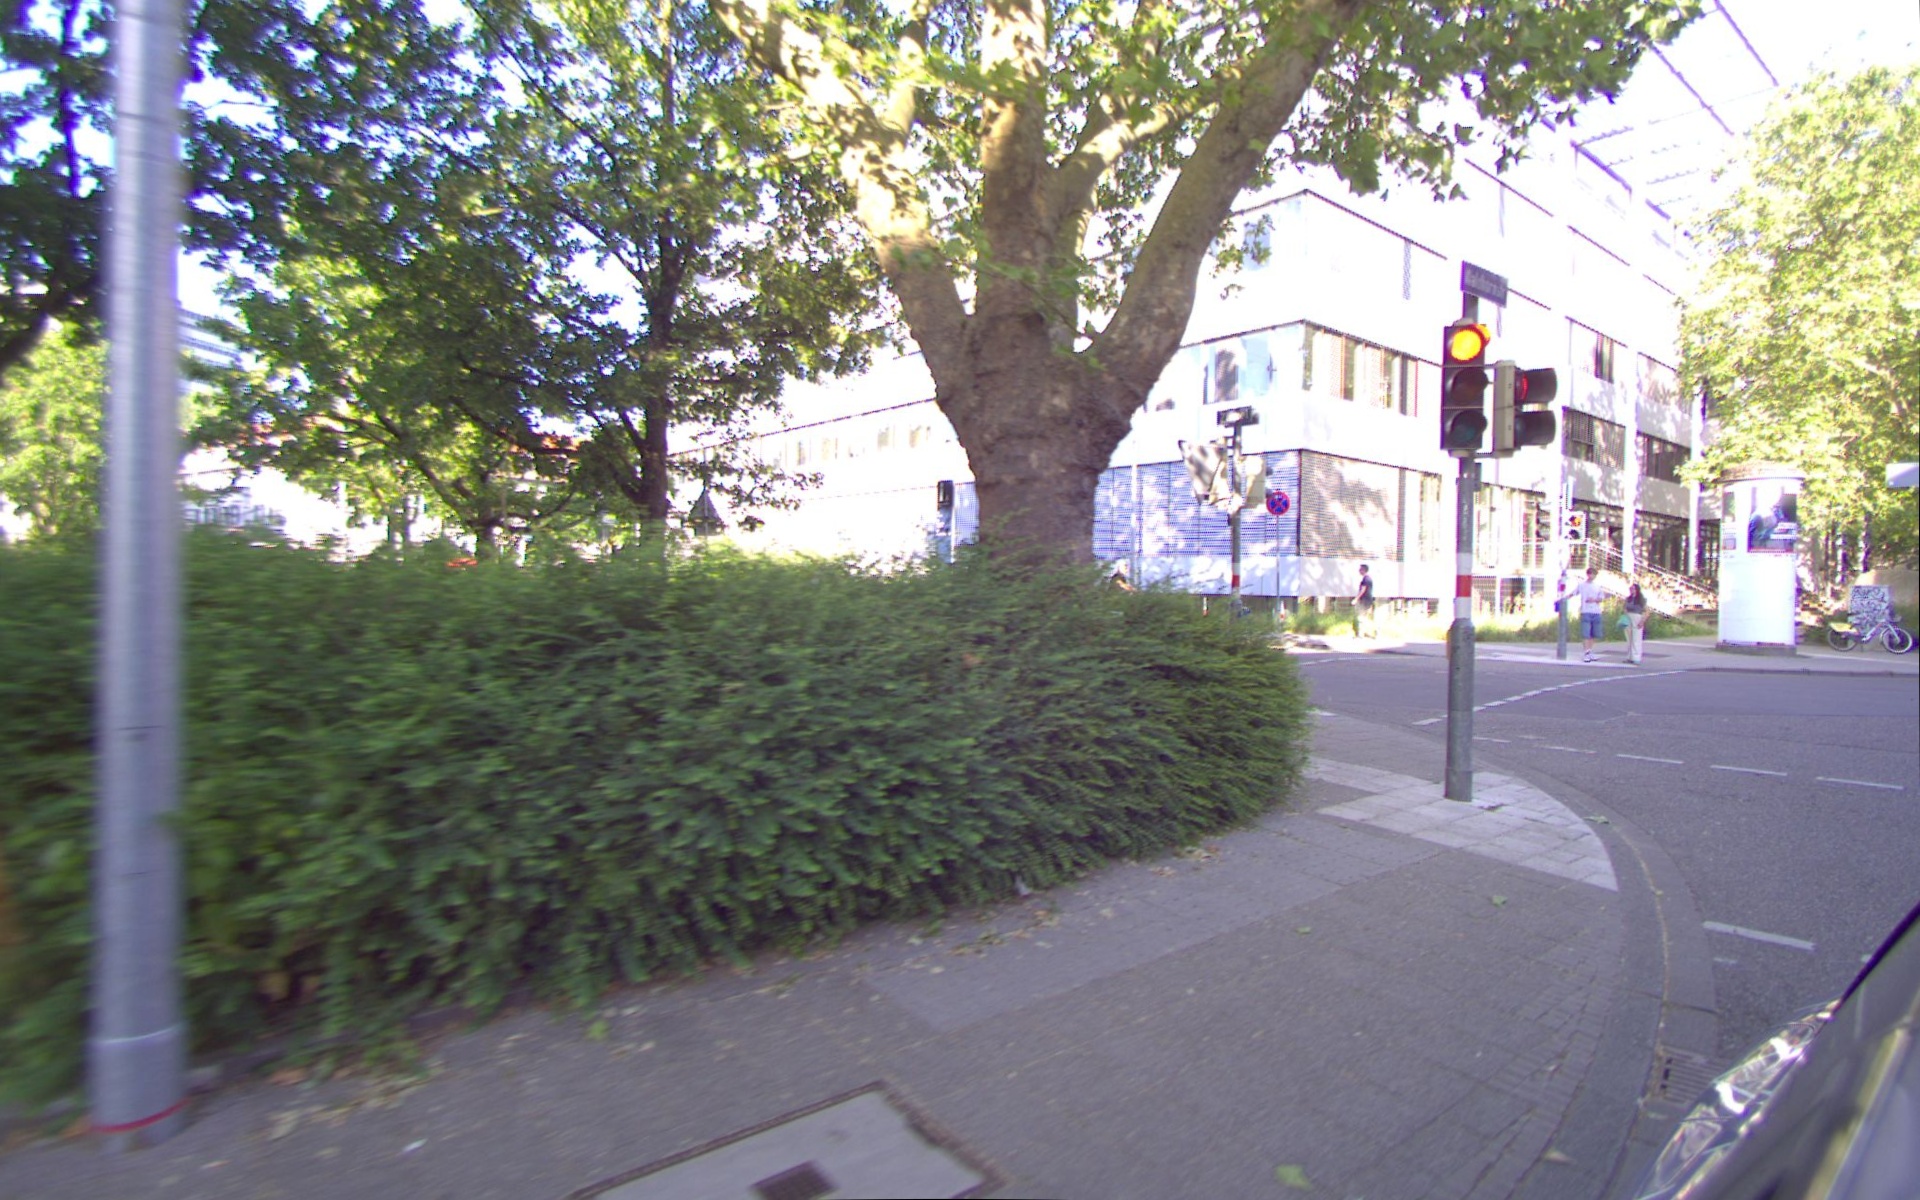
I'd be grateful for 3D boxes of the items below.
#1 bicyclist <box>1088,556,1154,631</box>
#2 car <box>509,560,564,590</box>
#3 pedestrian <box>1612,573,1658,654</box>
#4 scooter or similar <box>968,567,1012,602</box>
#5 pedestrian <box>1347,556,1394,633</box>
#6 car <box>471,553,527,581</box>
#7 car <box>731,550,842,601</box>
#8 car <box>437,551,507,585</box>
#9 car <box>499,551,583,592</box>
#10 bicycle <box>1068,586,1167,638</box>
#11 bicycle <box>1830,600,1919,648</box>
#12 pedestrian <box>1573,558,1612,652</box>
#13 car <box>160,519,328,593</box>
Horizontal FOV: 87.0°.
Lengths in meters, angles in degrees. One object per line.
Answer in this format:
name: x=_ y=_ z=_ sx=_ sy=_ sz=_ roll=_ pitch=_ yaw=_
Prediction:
bicyclist: x=3.437 y=-0.149 z=21.629 sx=1.082 sy=1.554 sz=0.866 roll=2 pitch=1 yaw=38
car: x=-22.690 y=-1.336 z=54.168 sx=1.602 sy=1.503 sz=3.845 roll=0 pitch=2 yaw=-41
pedestrian: x=13.247 y=0.249 z=19.861 sx=0.670 sy=1.543 sz=0.553 roll=2 pitch=1 yaw=39
scooter or similar: x=1.082 y=-0.566 z=36.666 sx=0.688 sy=1.194 sz=1.555 roll=0 pitch=2 yaw=-43
pedestrian: x=9.825 y=-0.128 z=24.250 sx=0.983 sy=1.794 sz=0.602 roll=2 pitch=0 yaw=19
car: x=-26.338 y=-1.875 z=57.766 sx=3.589 sy=1.508 sz=1.606 roll=3 pitch=2 yaw=42
car: x=-6.779 y=-0.970 z=39.133 sx=2.073 sy=1.851 sz=4.713 roll=0 pitch=2 yaw=-41
car: x=-29.649 y=-1.962 z=61.445 sx=4.894 sy=1.808 sz=2.059 roll=5 pitch=4 yaw=41
car: x=-29.108 y=-1.932 z=70.483 sx=1.989 sy=2.651 sz=5.051 roll=4 pitch=2 yaw=36
bicycle: x=3.360 y=0.234 z=21.698 sx=2.014 sy=1.029 sz=0.709 roll=2 pitch=3 yaw=38
bicycle: x=22.227 y=0.578 z=24.468 sx=1.619 sy=1.011 sz=0.617 roll=4 pitch=4 yaw=26
pedestrian: x=12.734 y=0.091 z=20.370 sx=0.600 sy=1.862 sz=0.562 roll=1 pitch=1 yaw=35
car: x=-27.277 y=-1.619 z=38.667 sx=5.070 sy=2.604 sz=1.997 roll=0 pitch=2 yaw=-42
